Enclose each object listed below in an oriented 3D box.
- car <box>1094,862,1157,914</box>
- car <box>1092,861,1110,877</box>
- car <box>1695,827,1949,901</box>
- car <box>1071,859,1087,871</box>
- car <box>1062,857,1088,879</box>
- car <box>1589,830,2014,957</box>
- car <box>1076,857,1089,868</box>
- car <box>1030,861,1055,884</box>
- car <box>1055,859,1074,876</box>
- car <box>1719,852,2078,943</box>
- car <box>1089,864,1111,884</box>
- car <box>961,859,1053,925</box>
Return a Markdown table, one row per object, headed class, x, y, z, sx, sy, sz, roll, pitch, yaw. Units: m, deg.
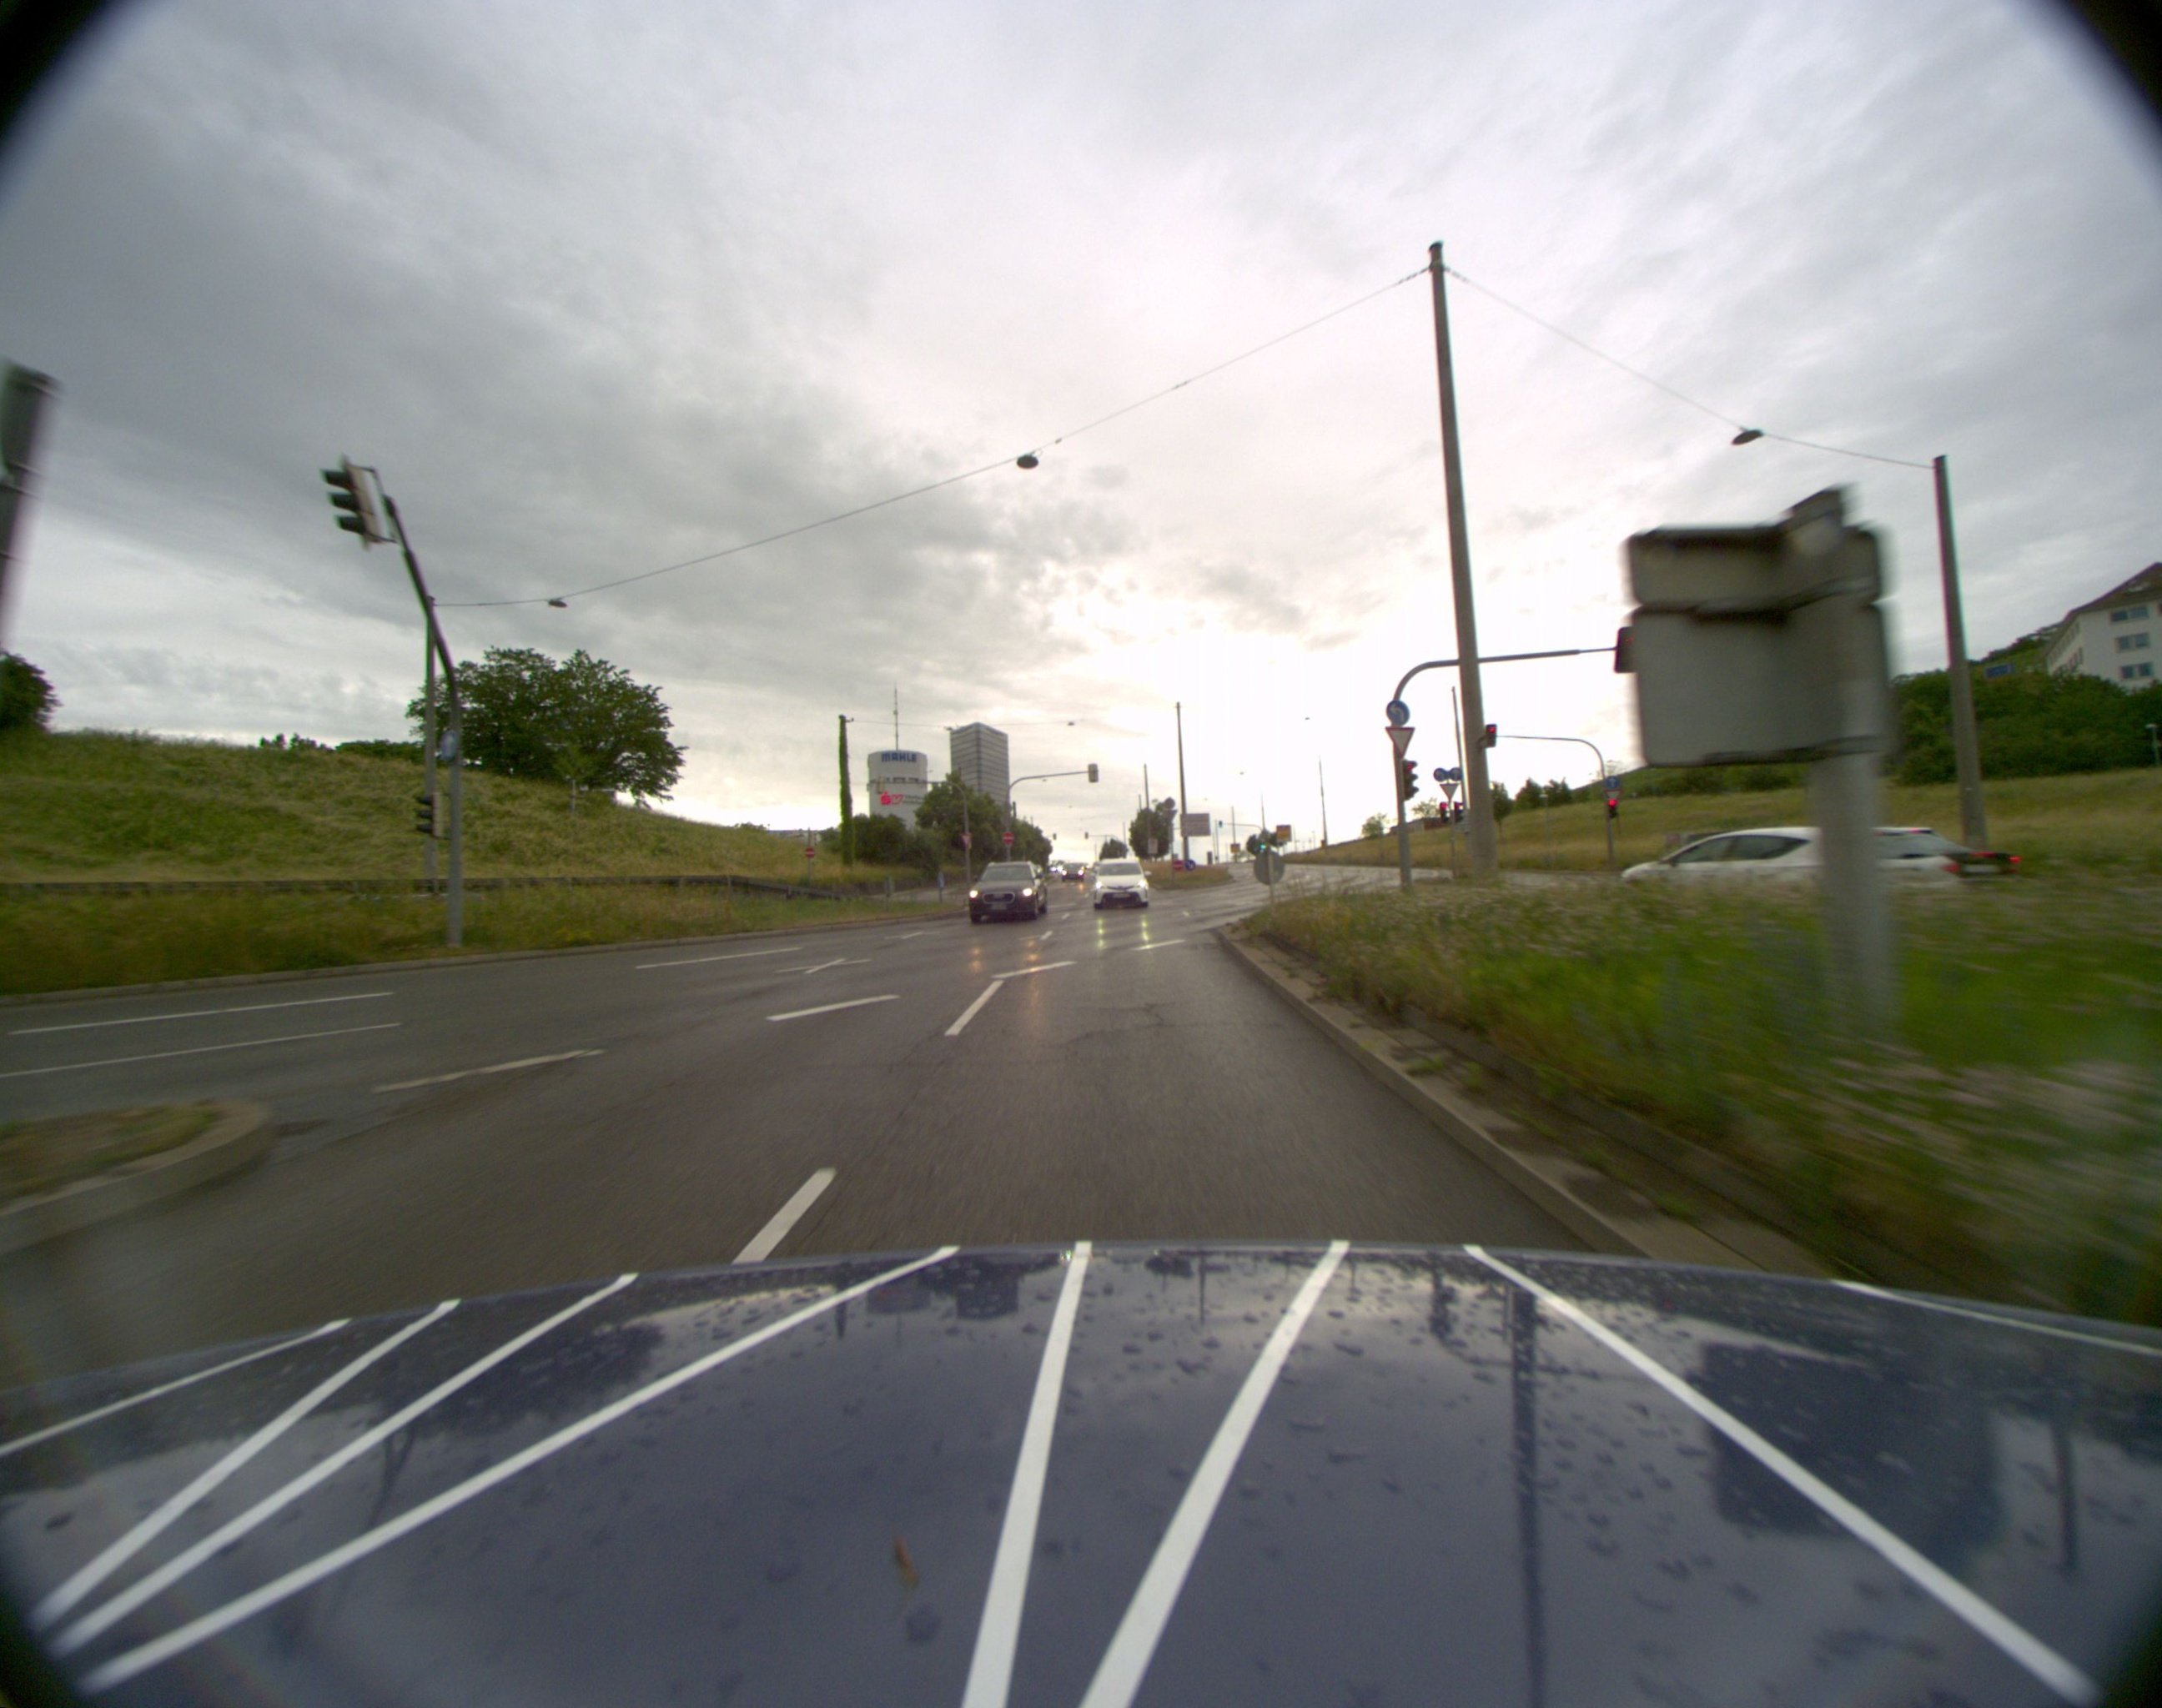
| class | x | y | z | sx | sy | sz | roll | pitch | yaw |
| --- | --- | --- | --- | --- | --- | --- | --- | --- | --- |
| car | 1.431 | 1.096 | 25.790 | 1.924 | 1.603 | 4.376 | 1 | -1 | 1 |
| car | 2.175 | 1.570 | 80.995 | 1.782 | 1.591 | 4.121 | -2 | -1 | 3 |
| car | 19.272 | 0.258 | 20.160 | 1.998 | 1.634 | 4.799 | -3 | -1 | 0 |
| car | -0.250 | 1.463 | 100.395 | 1.782 | 1.591 | 4.121 | -2 | -1 | 3 |
| car | -0.435 | 1.063 | 59.628 | 1.782 | 1.591 | 3.901 | -2 | -1 | 3 |
| car | 10.134 | 0.493 | 11.327 | 1.966 | 1.413 | 4.437 | -3 | -1 | -2 |
| car | 0.280 | 1.528 | 138.618 | 1.998 | 2.001 | 4.001 | -3 | 0 | 2 |
| car | -3.588 | 1.712 | 71.603 | 1.998 | 2.001 | 4.001 | -3 | 0 | 2 |
| car | -1.920 | 1.630 | 92.234 | 1.998 | 2.001 | 4.001 | -3 | 0 | 2 |
| car | 13.691 | 0.656 | 13.157 | 1.808 | 1.299 | 4.018 | -1 | -1 | -2 |
| car | 1.683 | 1.693 | 65.695 | 1.782 | 1.591 | 4.121 | -2 | -1 | 3 |
| car | -2.003 | 1.021 | 21.891 | 1.927 | 1.591 | 4.280 | -4 | -1 | 3 |
